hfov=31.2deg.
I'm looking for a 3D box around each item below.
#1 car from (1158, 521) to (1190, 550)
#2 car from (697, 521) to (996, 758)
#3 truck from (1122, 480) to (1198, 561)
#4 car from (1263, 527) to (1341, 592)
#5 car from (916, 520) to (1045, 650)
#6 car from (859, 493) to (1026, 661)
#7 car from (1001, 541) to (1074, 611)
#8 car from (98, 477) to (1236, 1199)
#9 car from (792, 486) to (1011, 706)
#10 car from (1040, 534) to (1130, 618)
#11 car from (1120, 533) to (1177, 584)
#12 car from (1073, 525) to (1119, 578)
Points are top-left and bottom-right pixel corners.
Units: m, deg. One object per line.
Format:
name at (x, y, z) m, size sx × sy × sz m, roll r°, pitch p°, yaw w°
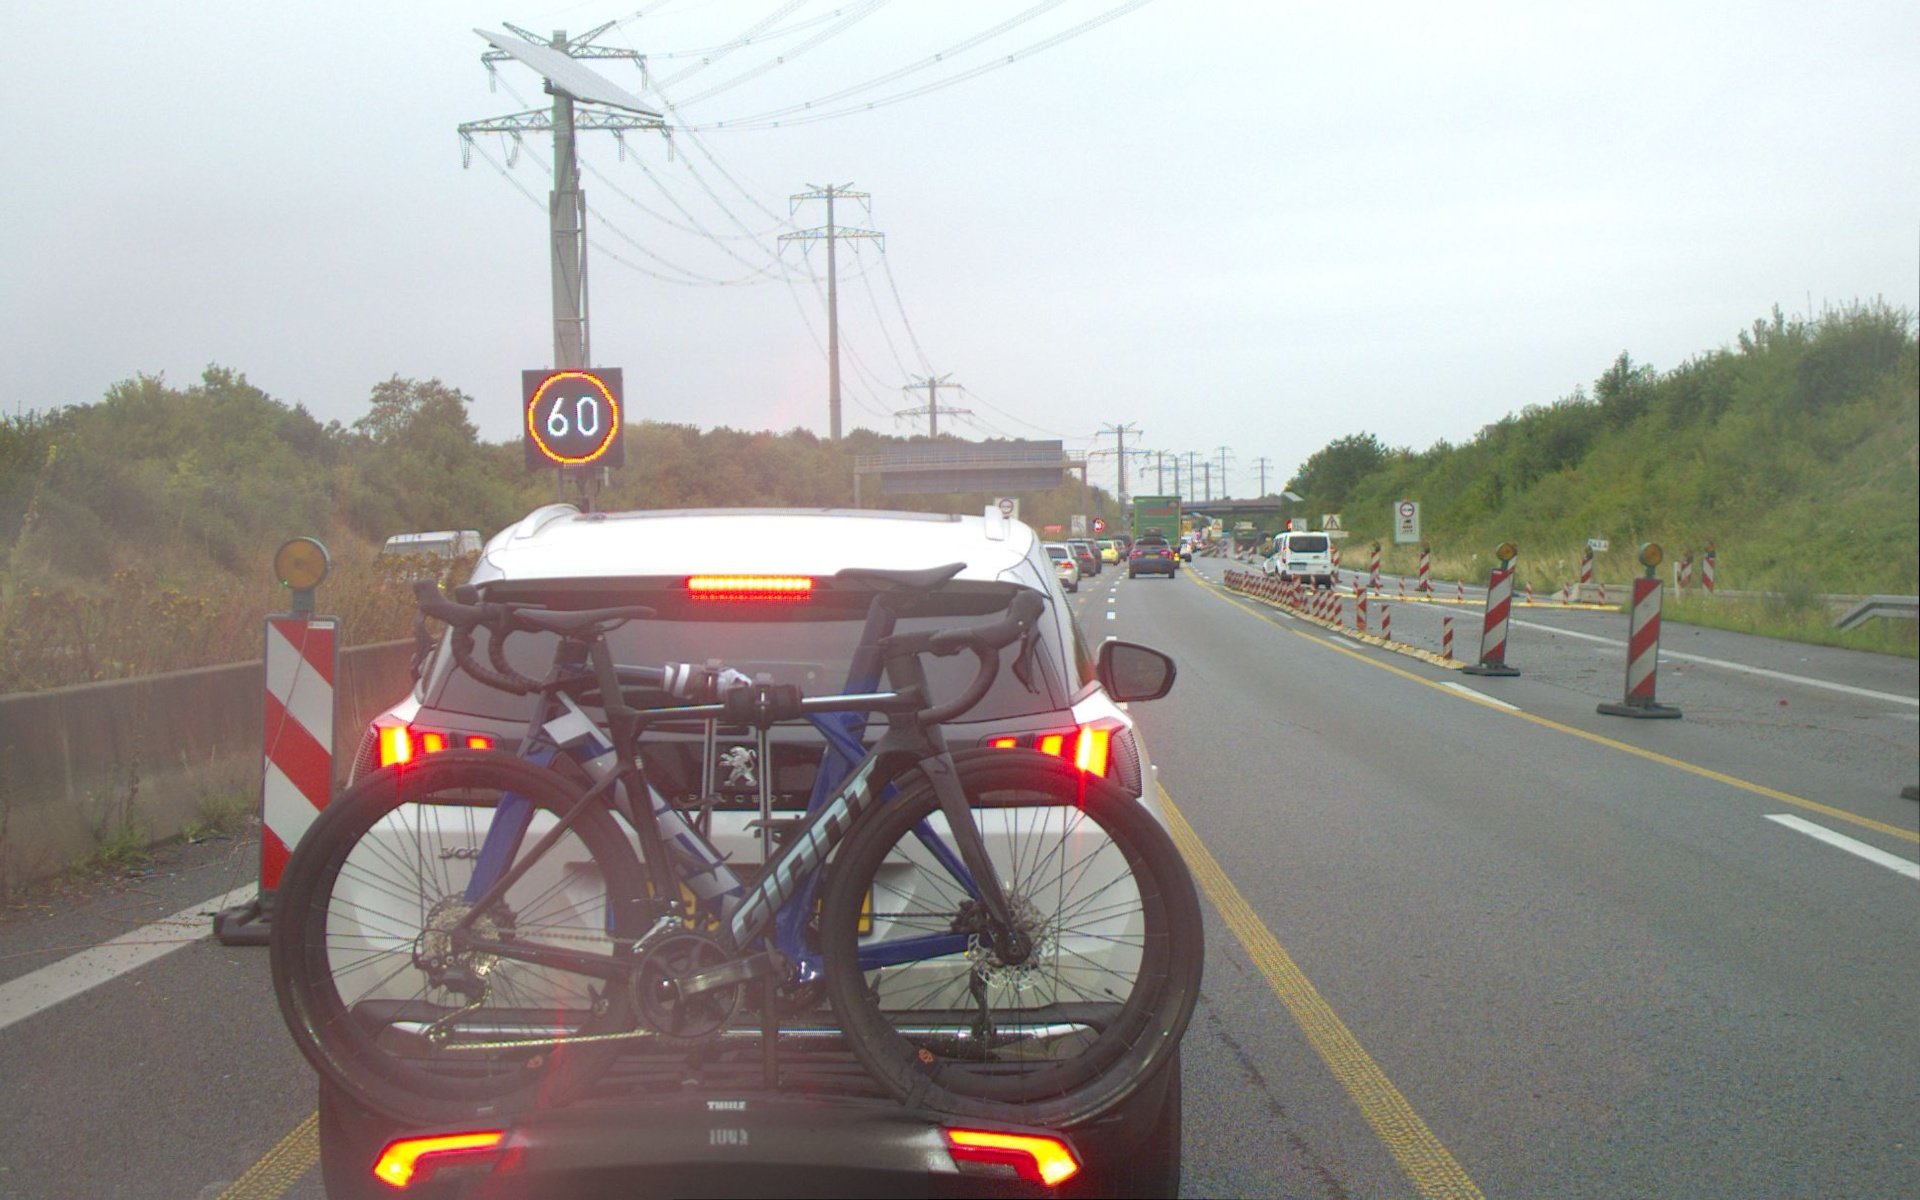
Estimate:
car at (15.294, -4.609, 245.694) m, size 1.993 × 2.007 × 4.000 m, roll 0°, pitch 1°, yaw 0°
car at (-0.784, 0.220, 24.932) m, size 1.993 × 1.578 × 4.000 m, roll 0°, pitch 1°, yaw -1°
truck at (10.964, -4.451, 189.896) m, size 3.732 × 3.808 × 11.871 m, roll 1°, pitch 4°, yaw 1°
car at (10.922, -1.313, 109.992) m, size 1.993 × 2.007 × 4.000 m, roll -1°, pitch 1°, yaw -1°
car at (0.302, -0.250, 55.650) m, size 1.993 × 2.007 × 4.000 m, roll 1°, pitch 0°, yaw -1°
car at (-0.230, -0.325, 44.140) m, size 1.993 × 2.007 × 4.000 m, roll -2°, pitch 1°, yaw 0°
car at (2.262, -0.712, 101.312) m, size 1.993 × 2.007 × 4.000 m, roll 1°, pitch 0°, yaw -1°
car at (-0.438, 0.557, 8.122) m, size 1.928 × 1.605 × 4.595 m, roll 0°, pitch 1°, yaw 2°
car at (-0.569, -0.081, 34.119) m, size 1.993 × 2.007 × 4.000 m, roll -1°, pitch 1°, yaw -1°
car at (3.158, -0.587, 87.604) m, size 1.993 × 2.007 × 4.000 m, roll -1°, pitch -1°, yaw -2°
car at (7.619, -1.690, 139.254) m, size 1.993 × 2.007 × 4.000 m, roll 1°, pitch 0°, yaw -1°
car at (5.199, -1.849, 130.883) m, size 1.654 × 2.007 × 4.000 m, roll 0°, pitch 1°, yaw 3°
